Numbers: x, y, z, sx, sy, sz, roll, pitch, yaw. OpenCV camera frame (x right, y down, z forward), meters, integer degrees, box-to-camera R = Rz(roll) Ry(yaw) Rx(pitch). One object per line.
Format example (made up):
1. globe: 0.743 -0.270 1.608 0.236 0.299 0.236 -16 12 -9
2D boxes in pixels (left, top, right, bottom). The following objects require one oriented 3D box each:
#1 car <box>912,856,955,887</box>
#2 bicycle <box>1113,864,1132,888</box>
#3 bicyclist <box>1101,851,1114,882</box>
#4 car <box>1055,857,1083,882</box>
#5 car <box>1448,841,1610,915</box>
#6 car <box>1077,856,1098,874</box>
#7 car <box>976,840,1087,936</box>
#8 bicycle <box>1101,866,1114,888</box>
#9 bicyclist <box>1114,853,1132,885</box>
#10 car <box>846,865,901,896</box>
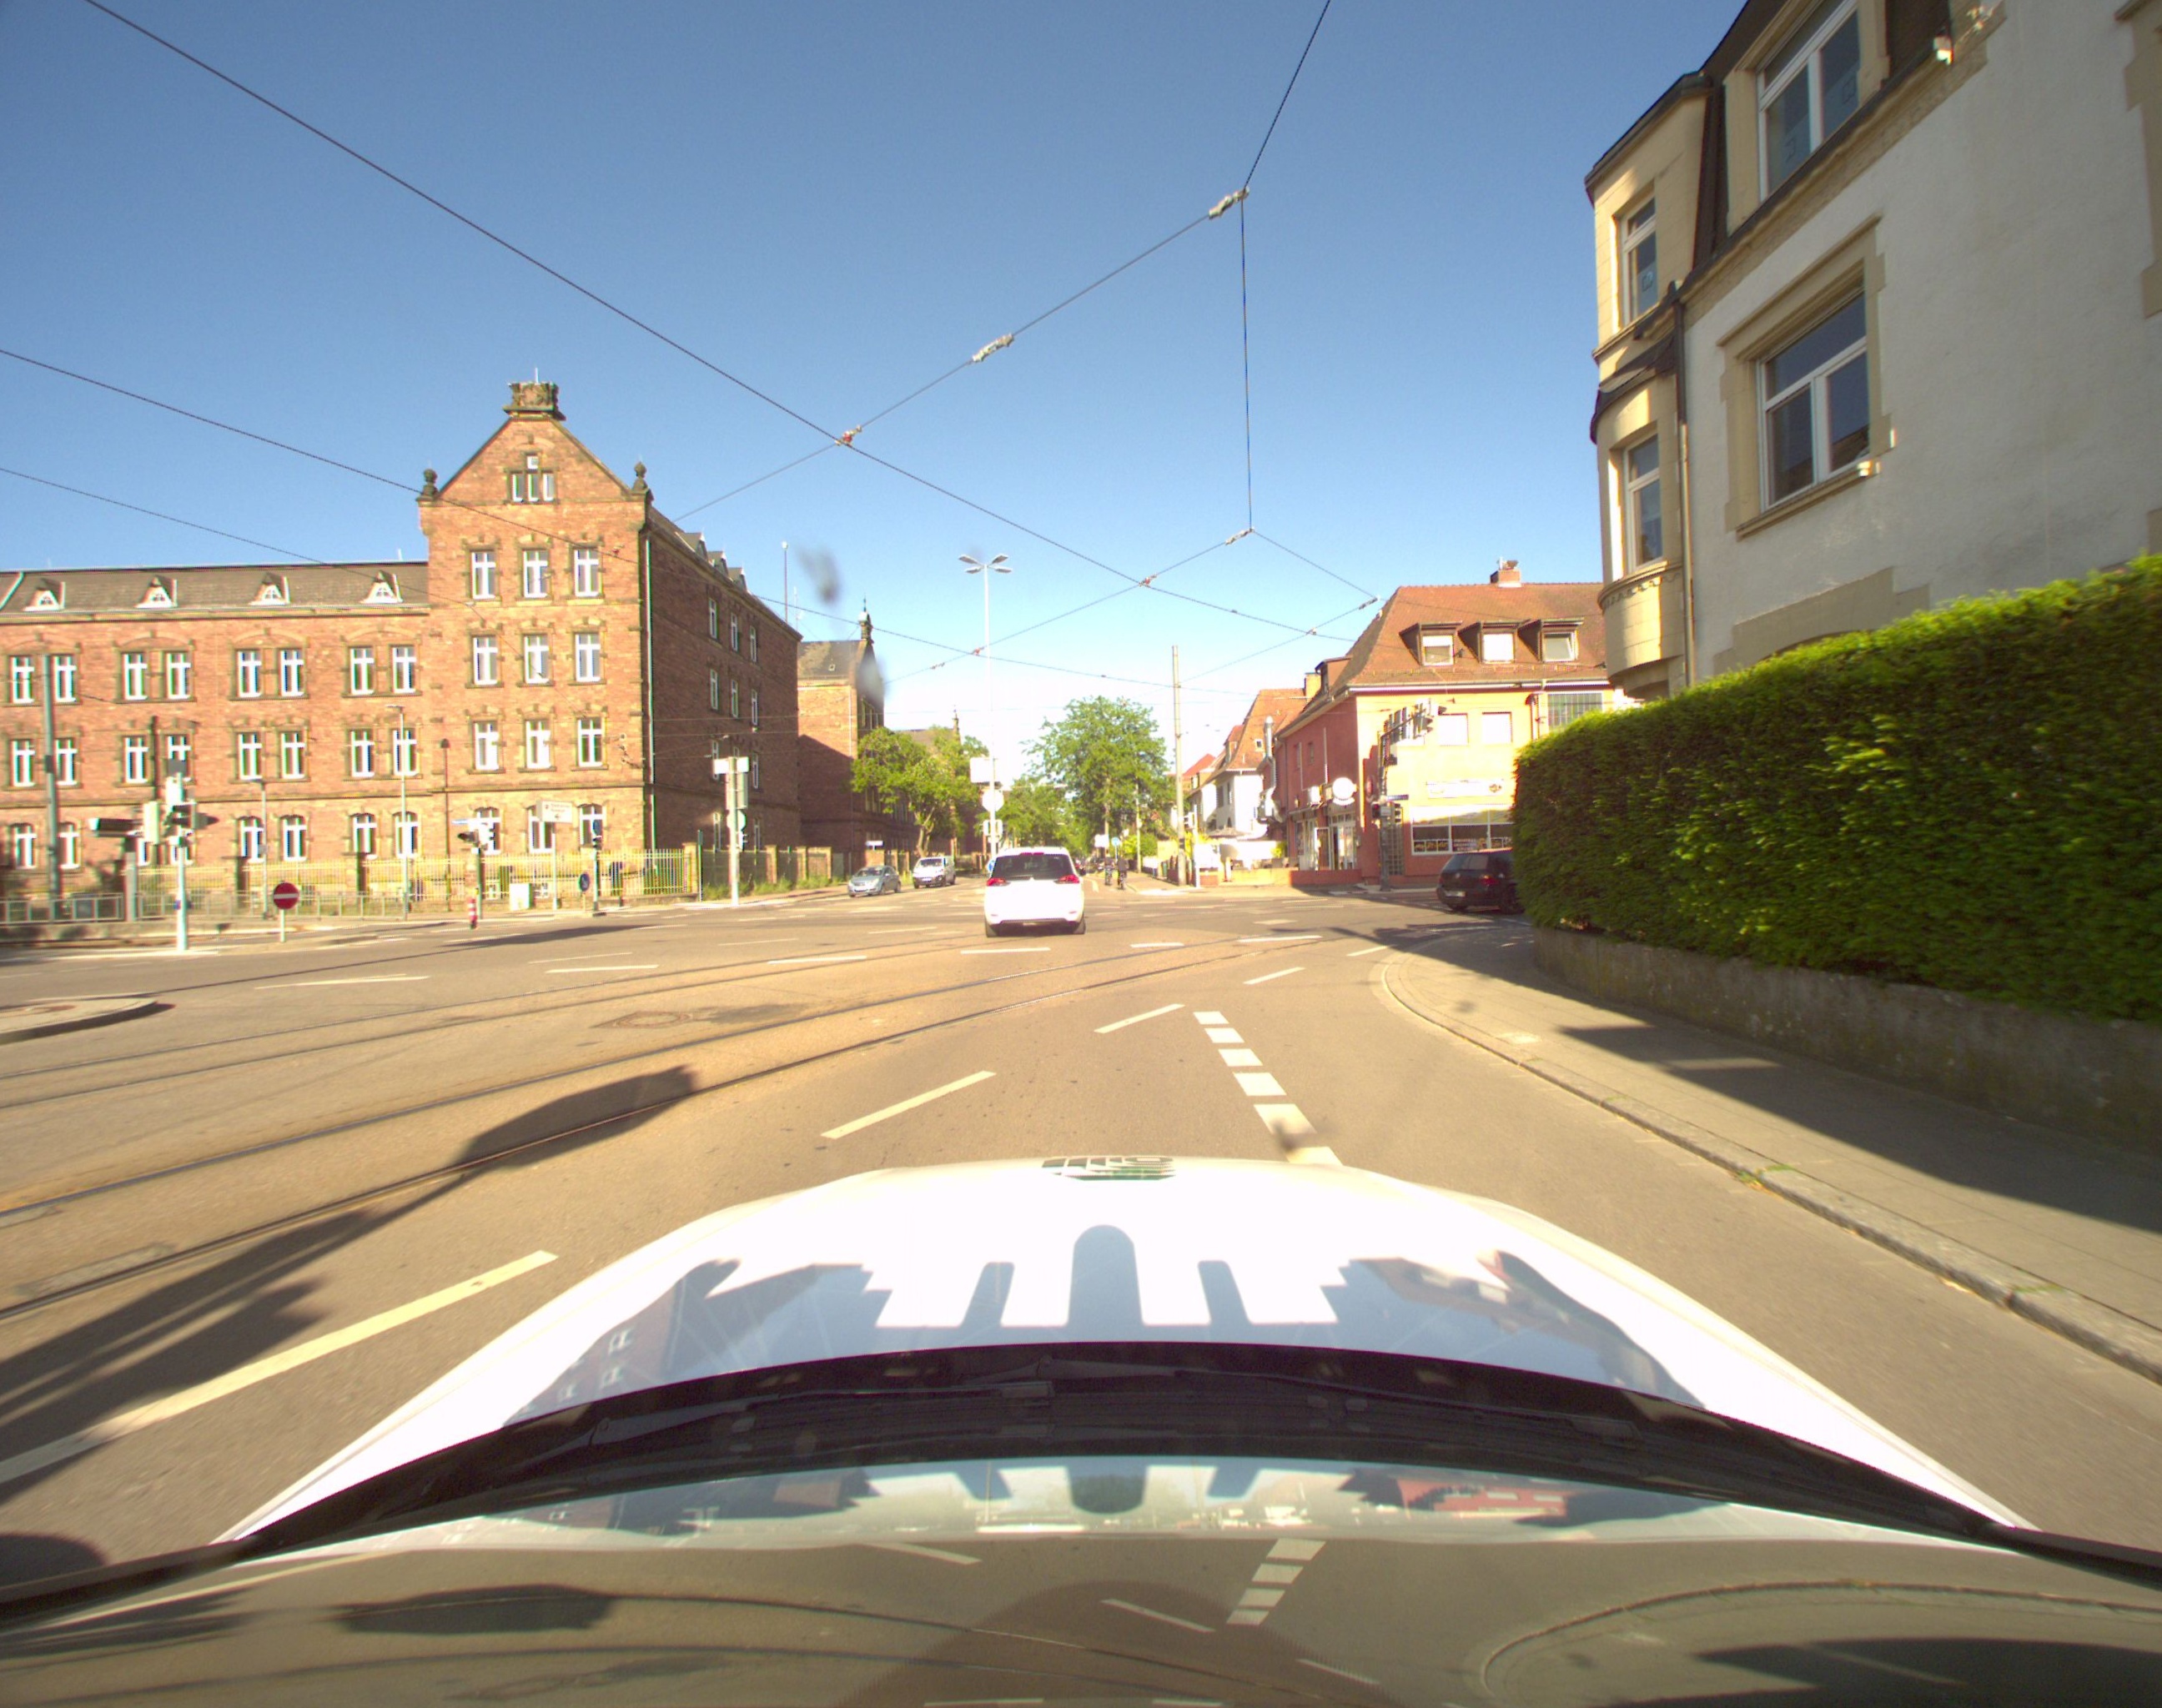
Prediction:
1. car: -9.070 1.052 50.295 1.886 1.783 3.880 -1 -1 0
2. bicycle: 2.031 1.052 39.668 0.826 1.154 2.094 -1 -1 0
3. bicyclist: 1.470 0.690 44.957 0.683 1.634 1.016 -1 -1 3
4. car: -0.820 1.073 55.909 1.769 1.632 3.881 -1 -1 1
5. car: 9.757 0.486 18.094 1.580 1.420 3.903 -2 0 3
6. car: 0.670 1.046 78.412 1.768 1.632 3.884 -1 -1 4
7. car: -0.844 0.612 16.089 1.828 1.642 3.920 -1 -1 2
8. bicycle: 1.478 1.253 44.925 0.683 1.157 1.621 0 -1 3
9. bicyclist: 2.030 0.735 39.547 0.818 1.501 0.934 -1 -1 0
10. car: -10.148 1.257 40.080 1.574 1.441 3.587 -1 -1 3
